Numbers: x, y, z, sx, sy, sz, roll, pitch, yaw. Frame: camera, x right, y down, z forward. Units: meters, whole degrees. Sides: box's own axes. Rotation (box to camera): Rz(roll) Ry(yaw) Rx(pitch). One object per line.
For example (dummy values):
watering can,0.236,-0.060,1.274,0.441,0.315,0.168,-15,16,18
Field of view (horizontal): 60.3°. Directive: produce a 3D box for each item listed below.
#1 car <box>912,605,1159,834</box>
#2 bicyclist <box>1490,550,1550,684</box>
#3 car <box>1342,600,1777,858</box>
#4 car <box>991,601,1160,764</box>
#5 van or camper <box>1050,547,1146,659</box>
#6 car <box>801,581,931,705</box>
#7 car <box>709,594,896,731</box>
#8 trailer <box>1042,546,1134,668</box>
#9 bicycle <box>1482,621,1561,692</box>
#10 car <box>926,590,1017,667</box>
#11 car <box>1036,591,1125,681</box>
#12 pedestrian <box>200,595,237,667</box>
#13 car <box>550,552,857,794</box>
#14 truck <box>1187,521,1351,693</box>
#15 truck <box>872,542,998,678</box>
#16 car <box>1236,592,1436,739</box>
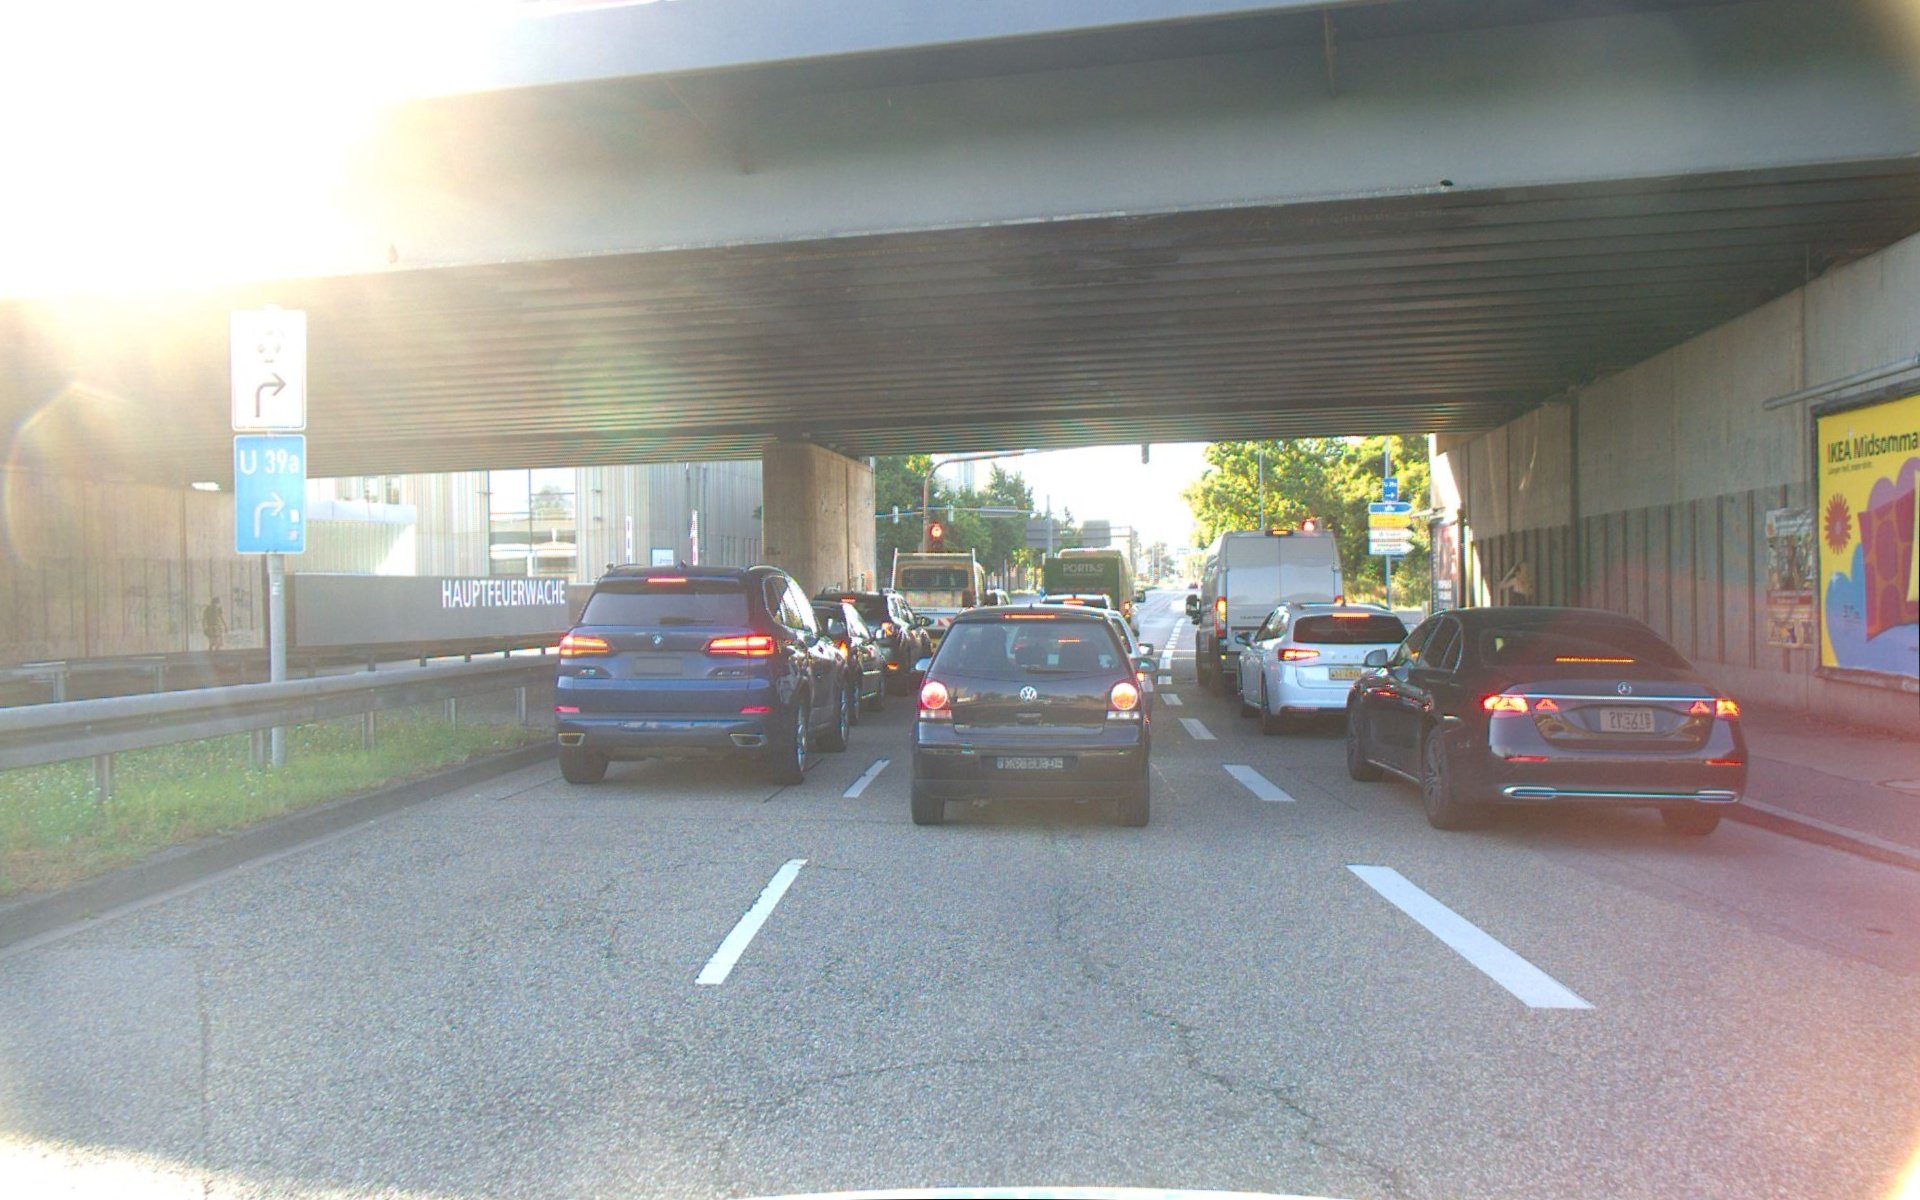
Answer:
car,0.507,0.784,12.281,1.549,1.433,3.832,0,-1,1
bicyclist,8.275,0.254,24.455,0.667,1.940,0.834,-1,-1,7
car,4.100,0.767,12.158,1.704,1.480,4.607,0,1,2
car,1.210,0.786,17.415,1.515,1.448,3.419,-4,0,4
van or camper,3.587,0.117,42.028,1.951,2.616,5.922,-1,-1,9
car,-1.461,0.686,27.081,1.804,1.749,3.999,-4,-1,0
car,-1.896,0.750,20.942,1.803,1.465,3.676,-4,-1,2
trailer,2.880,0.179,36.570,1.824,2.508,3.834,-2,-1,7
bicycle,8.306,0.817,24.554,0.566,0.980,2.888,-1,-1,8
car,0.349,0.753,43.803,1.951,1.934,4.003,-1,-1,7
car,2.259,0.666,30.611,1.548,1.559,3.834,0,-1,5
pedestrian,-20.350,0.852,45.394,0.679,1.937,0.665,-1,-1,7
car,-2.050,0.582,14.529,1.791,1.769,4.462,-1,-1,3
truck,5.029,0.140,27.518,2.067,2.564,4.403,-2,-1,4
truck,-0.418,0.241,34.536,1.985,2.601,5.540,-1,-1,6
car,4.337,0.731,19.588,1.735,1.521,3.834,-2,-1,5
